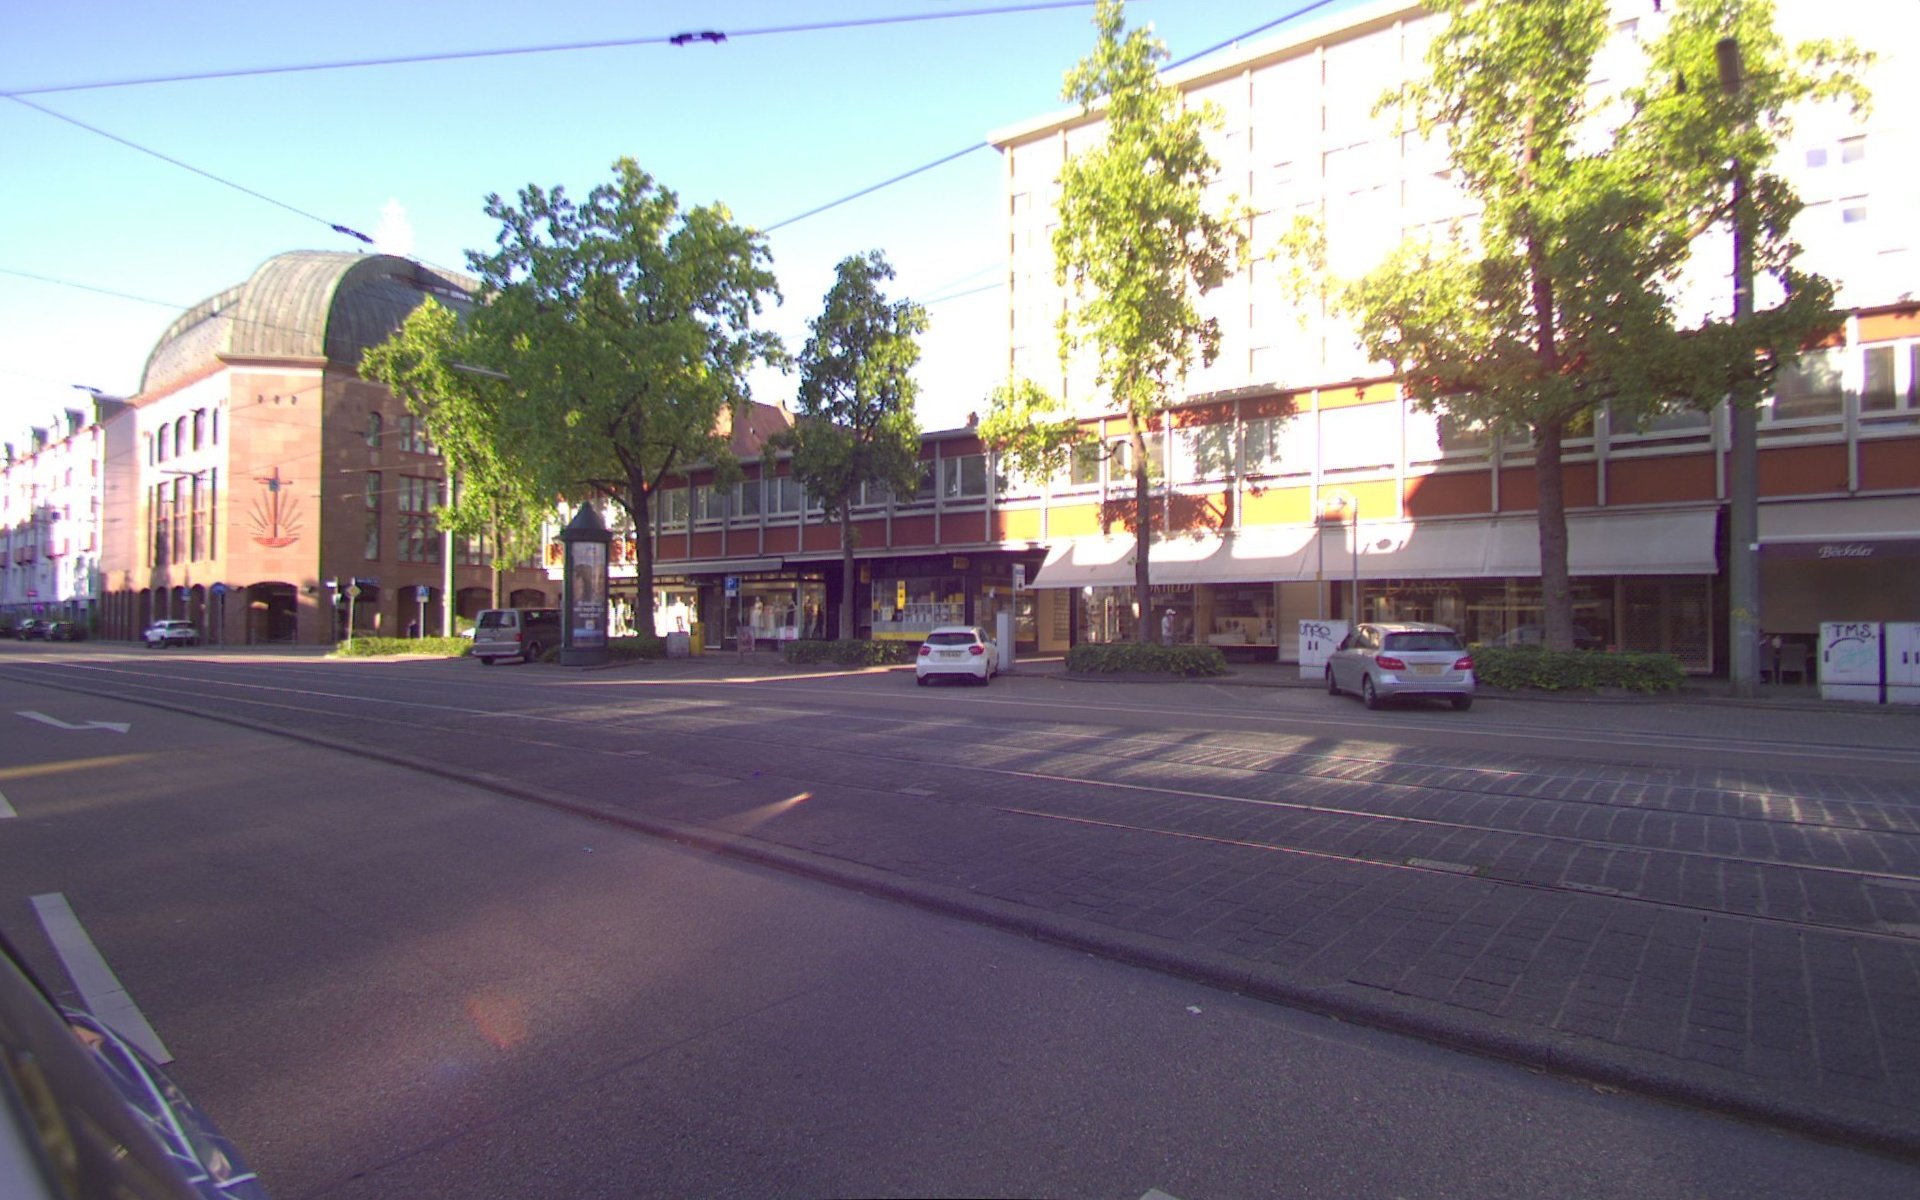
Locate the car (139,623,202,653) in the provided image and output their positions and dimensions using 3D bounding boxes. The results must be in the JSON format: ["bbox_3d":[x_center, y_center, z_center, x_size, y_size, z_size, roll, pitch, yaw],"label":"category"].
[{"bbox_3d":[-46.091,2.199,59.048,3.992,1.615,1.888,-1,-1,36],"label":"car"}]

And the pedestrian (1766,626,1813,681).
[{"bbox_3d":[18.357,1.173,22.409,0.726,1.181,0.770,-1,-2,35],"label":"pedestrian"}]

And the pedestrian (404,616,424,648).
[{"bbox_3d":[-29.632,1.730,54.887,0.548,1.761,0.780,-1,-2,41],"label":"pedestrian"}]

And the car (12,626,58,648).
[{"bbox_3d":[-72.604,2.912,79.451,3.992,1.615,1.942,-1,-1,36],"label":"car"}]

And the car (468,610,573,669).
[{"bbox_3d":[-15.681,1.357,36.336,1.886,1.979,3.996,0,-1,3],"label":"car"}]

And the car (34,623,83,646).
[{"bbox_3d":[-67.350,2.569,75.605,3.992,1.615,1.942,-1,-1,36],"label":"car"}]

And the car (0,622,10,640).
[{"bbox_3d":[-87.481,2.825,91.300,3.992,1.615,1.942,-1,-1,36],"label":"car"}]

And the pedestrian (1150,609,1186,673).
[{"bbox_3d":[5.948,1.152,28.892,0.626,1.782,0.770,2,-1,-36],"label":"pedestrian"}]

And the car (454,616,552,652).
[{"bbox_3d":[-26.764,1.993,59.384,1.996,2.029,4.926,-1,-2,36],"label":"car"}]

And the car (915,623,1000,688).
[{"bbox_3d":[0.013,1.365,26.014,1.776,1.486,3.992,0,0,6],"label":"car"}]

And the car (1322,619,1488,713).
[{"bbox_3d":[8.405,1.178,19.501,1.776,1.566,3.992,0,0,6],"label":"car"}]
